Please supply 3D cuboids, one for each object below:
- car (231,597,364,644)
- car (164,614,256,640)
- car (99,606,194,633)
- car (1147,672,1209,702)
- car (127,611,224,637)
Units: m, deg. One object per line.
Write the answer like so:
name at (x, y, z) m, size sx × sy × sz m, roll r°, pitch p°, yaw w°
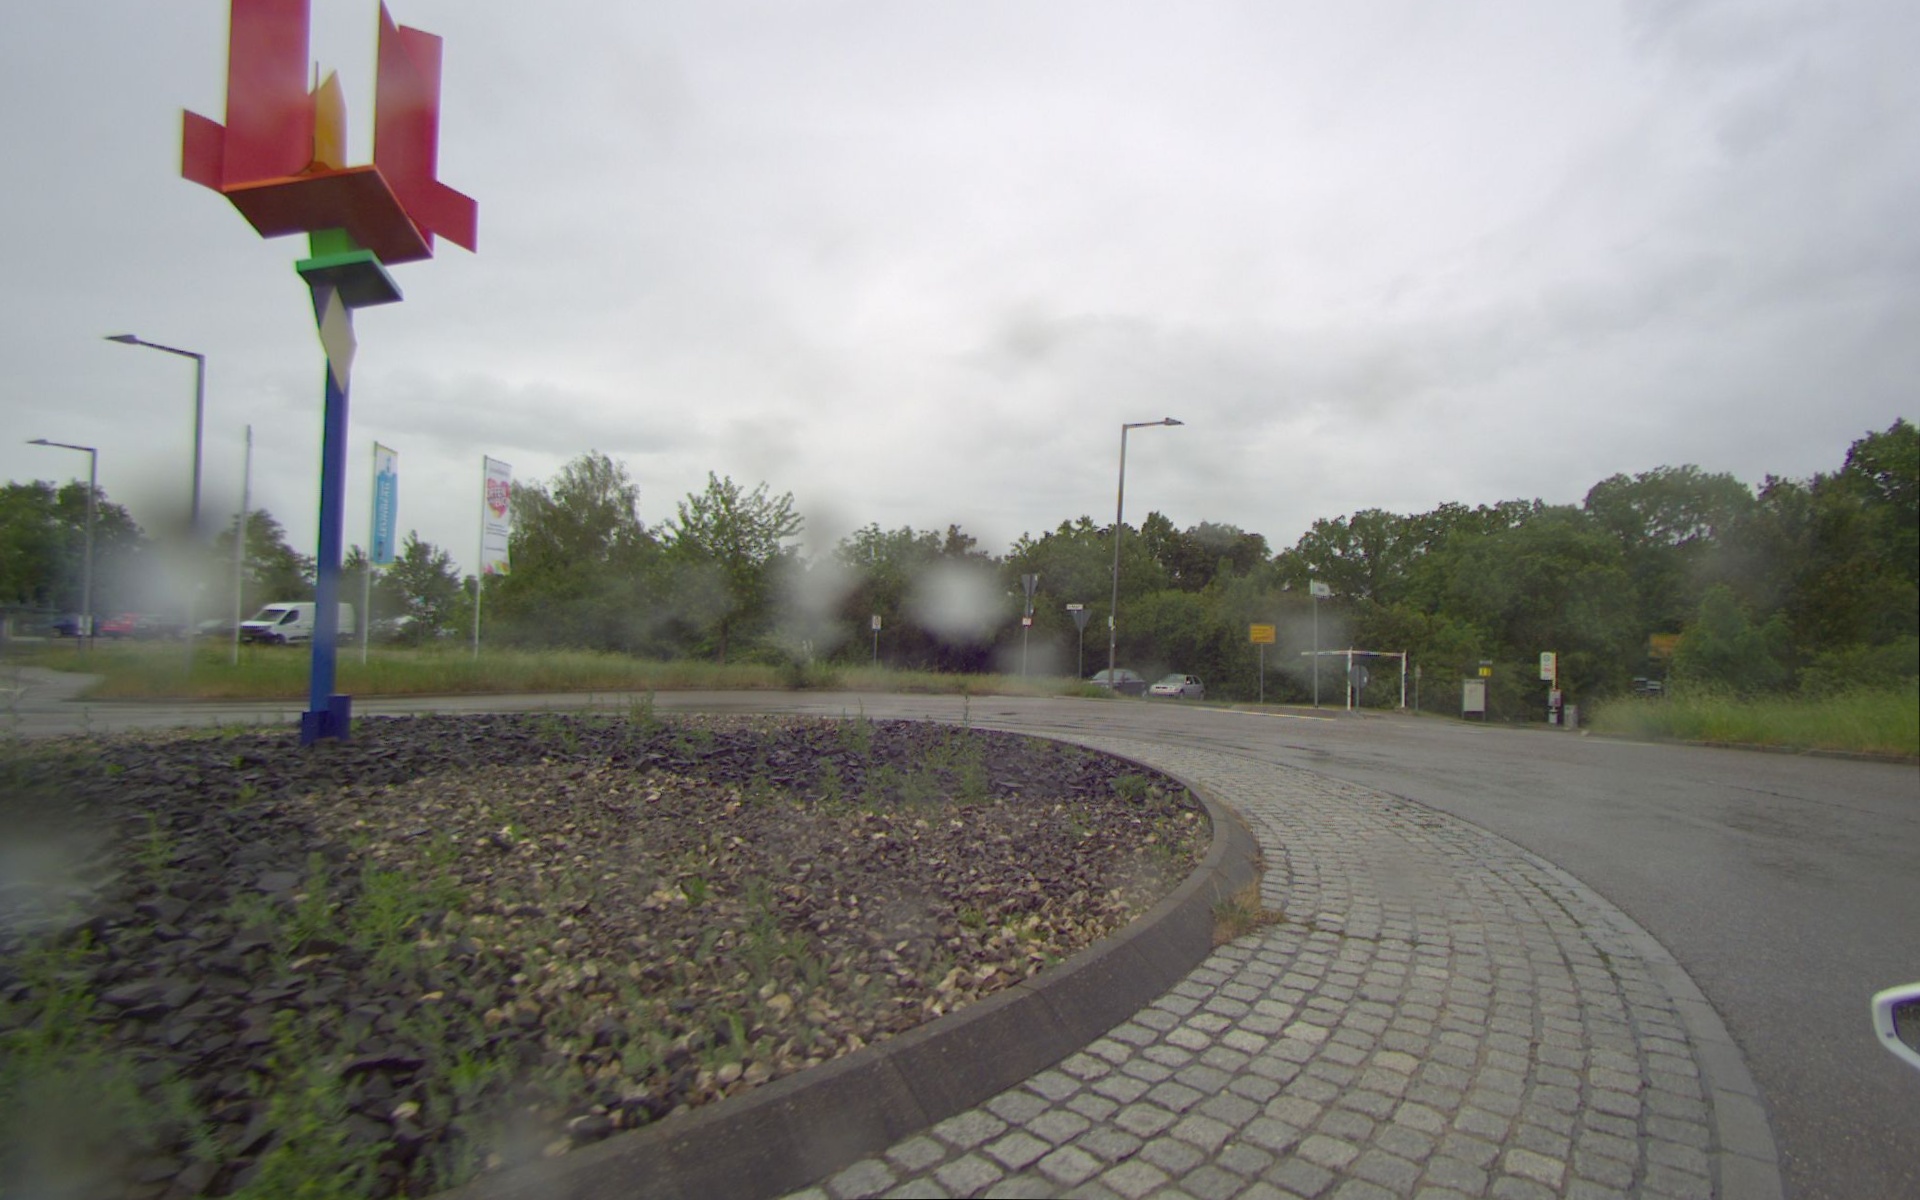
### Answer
car at (-37.175, 1.130, 56.674) m, size 2.096 × 2.429 × 6.581 m, roll 2°, pitch 0°, yaw 13°
car at (-42.672, 1.546, 57.263) m, size 1.620 × 1.382 × 4.001 m, roll 1°, pitch -1°, yaw 18°
car at (-47.804, 1.188, 59.113) m, size 1.811 × 1.488 × 4.002 m, roll 1°, pitch -2°, yaw 17°
car at (11.587, 4.557, 53.217) m, size 1.582 × 1.373 × 4.104 m, roll -1°, pitch -2°, yaw 39°
car at (-44.911, 1.401, 57.579) m, size 1.811 × 1.382 × 4.001 m, roll 1°, pitch -2°, yaw 18°
